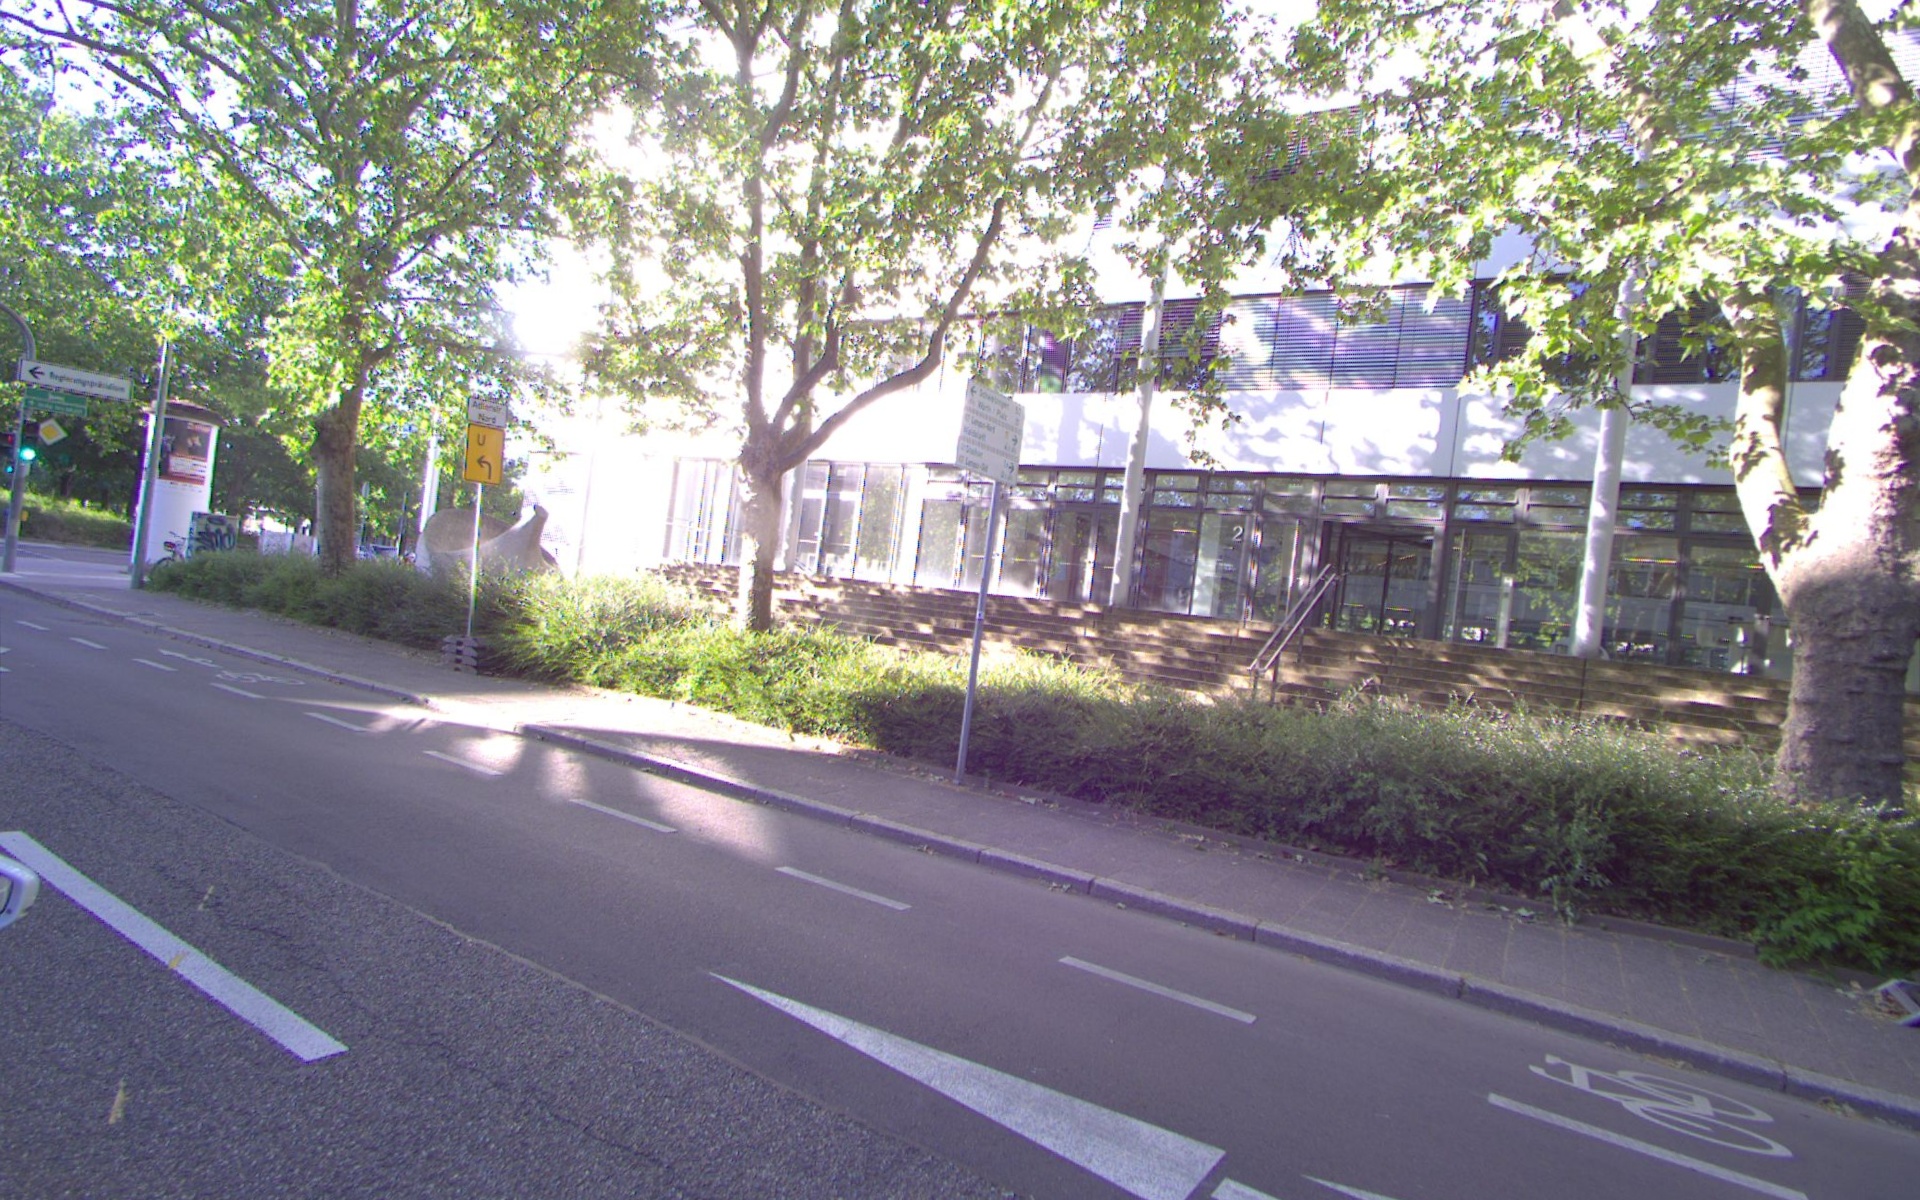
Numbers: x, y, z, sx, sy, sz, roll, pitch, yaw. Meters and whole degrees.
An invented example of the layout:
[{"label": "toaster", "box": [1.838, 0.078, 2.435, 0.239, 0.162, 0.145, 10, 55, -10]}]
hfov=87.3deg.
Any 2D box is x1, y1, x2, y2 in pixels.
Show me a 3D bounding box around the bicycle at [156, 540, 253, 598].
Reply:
[{"label": "bicycle", "box": [-15.908, -0.633, 21.248, 0.631, 1.040, 1.887, 7, -2, -5]}]
